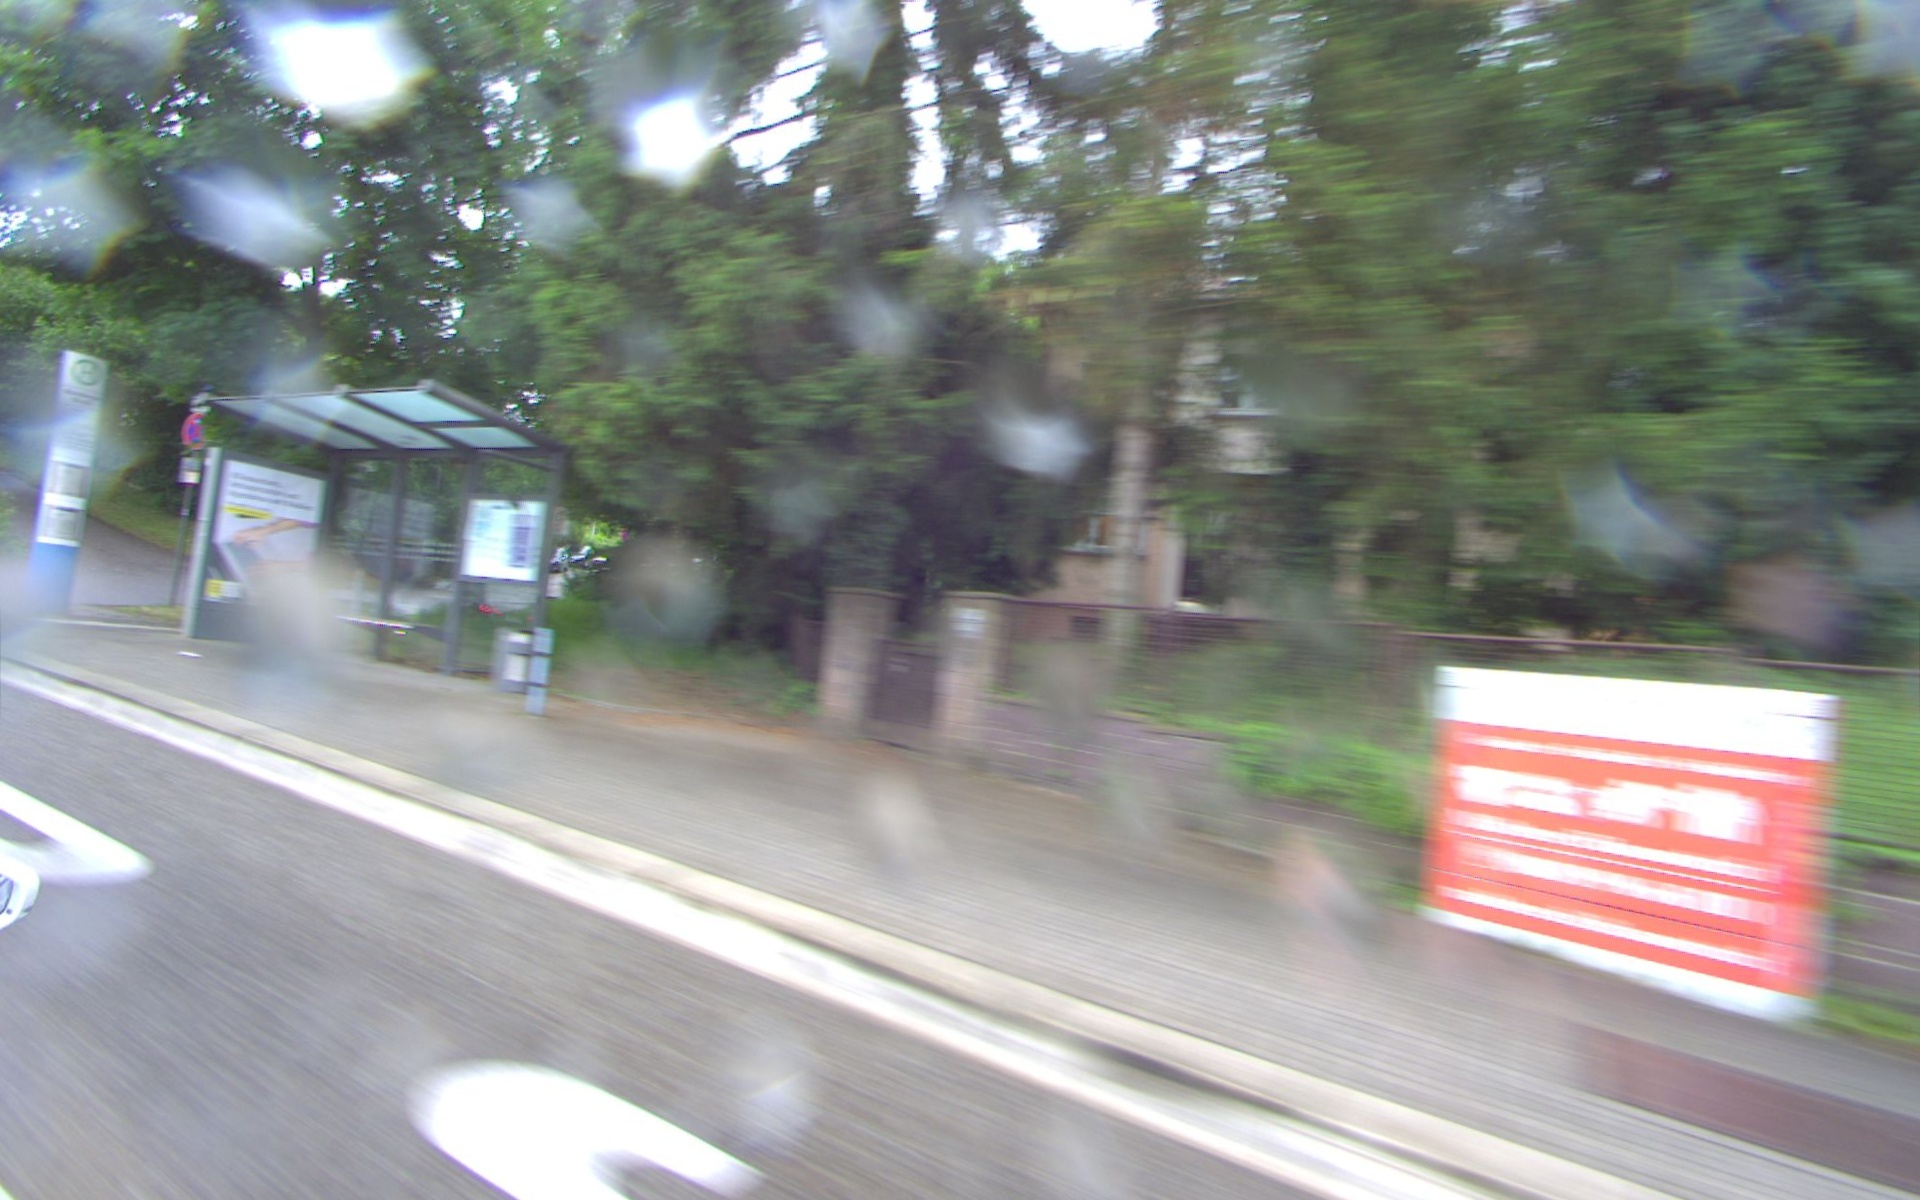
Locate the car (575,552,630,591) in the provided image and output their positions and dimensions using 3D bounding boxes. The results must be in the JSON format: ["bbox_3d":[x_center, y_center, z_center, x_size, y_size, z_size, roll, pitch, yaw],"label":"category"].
[{"bbox_3d":[-18.045,-1.391,50.896,1.824,1.640,3.993,8,-1,-10],"label":"car"}]

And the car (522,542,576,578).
[{"bbox_3d":[-24.703,-2.364,60.640,1.965,1.614,3.999,5,-3,-8],"label":"car"}]

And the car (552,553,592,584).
[{"bbox_3d":[-26.529,-2.122,68.854,1.968,1.614,3.993,6,-3,-14],"label":"car"}]
